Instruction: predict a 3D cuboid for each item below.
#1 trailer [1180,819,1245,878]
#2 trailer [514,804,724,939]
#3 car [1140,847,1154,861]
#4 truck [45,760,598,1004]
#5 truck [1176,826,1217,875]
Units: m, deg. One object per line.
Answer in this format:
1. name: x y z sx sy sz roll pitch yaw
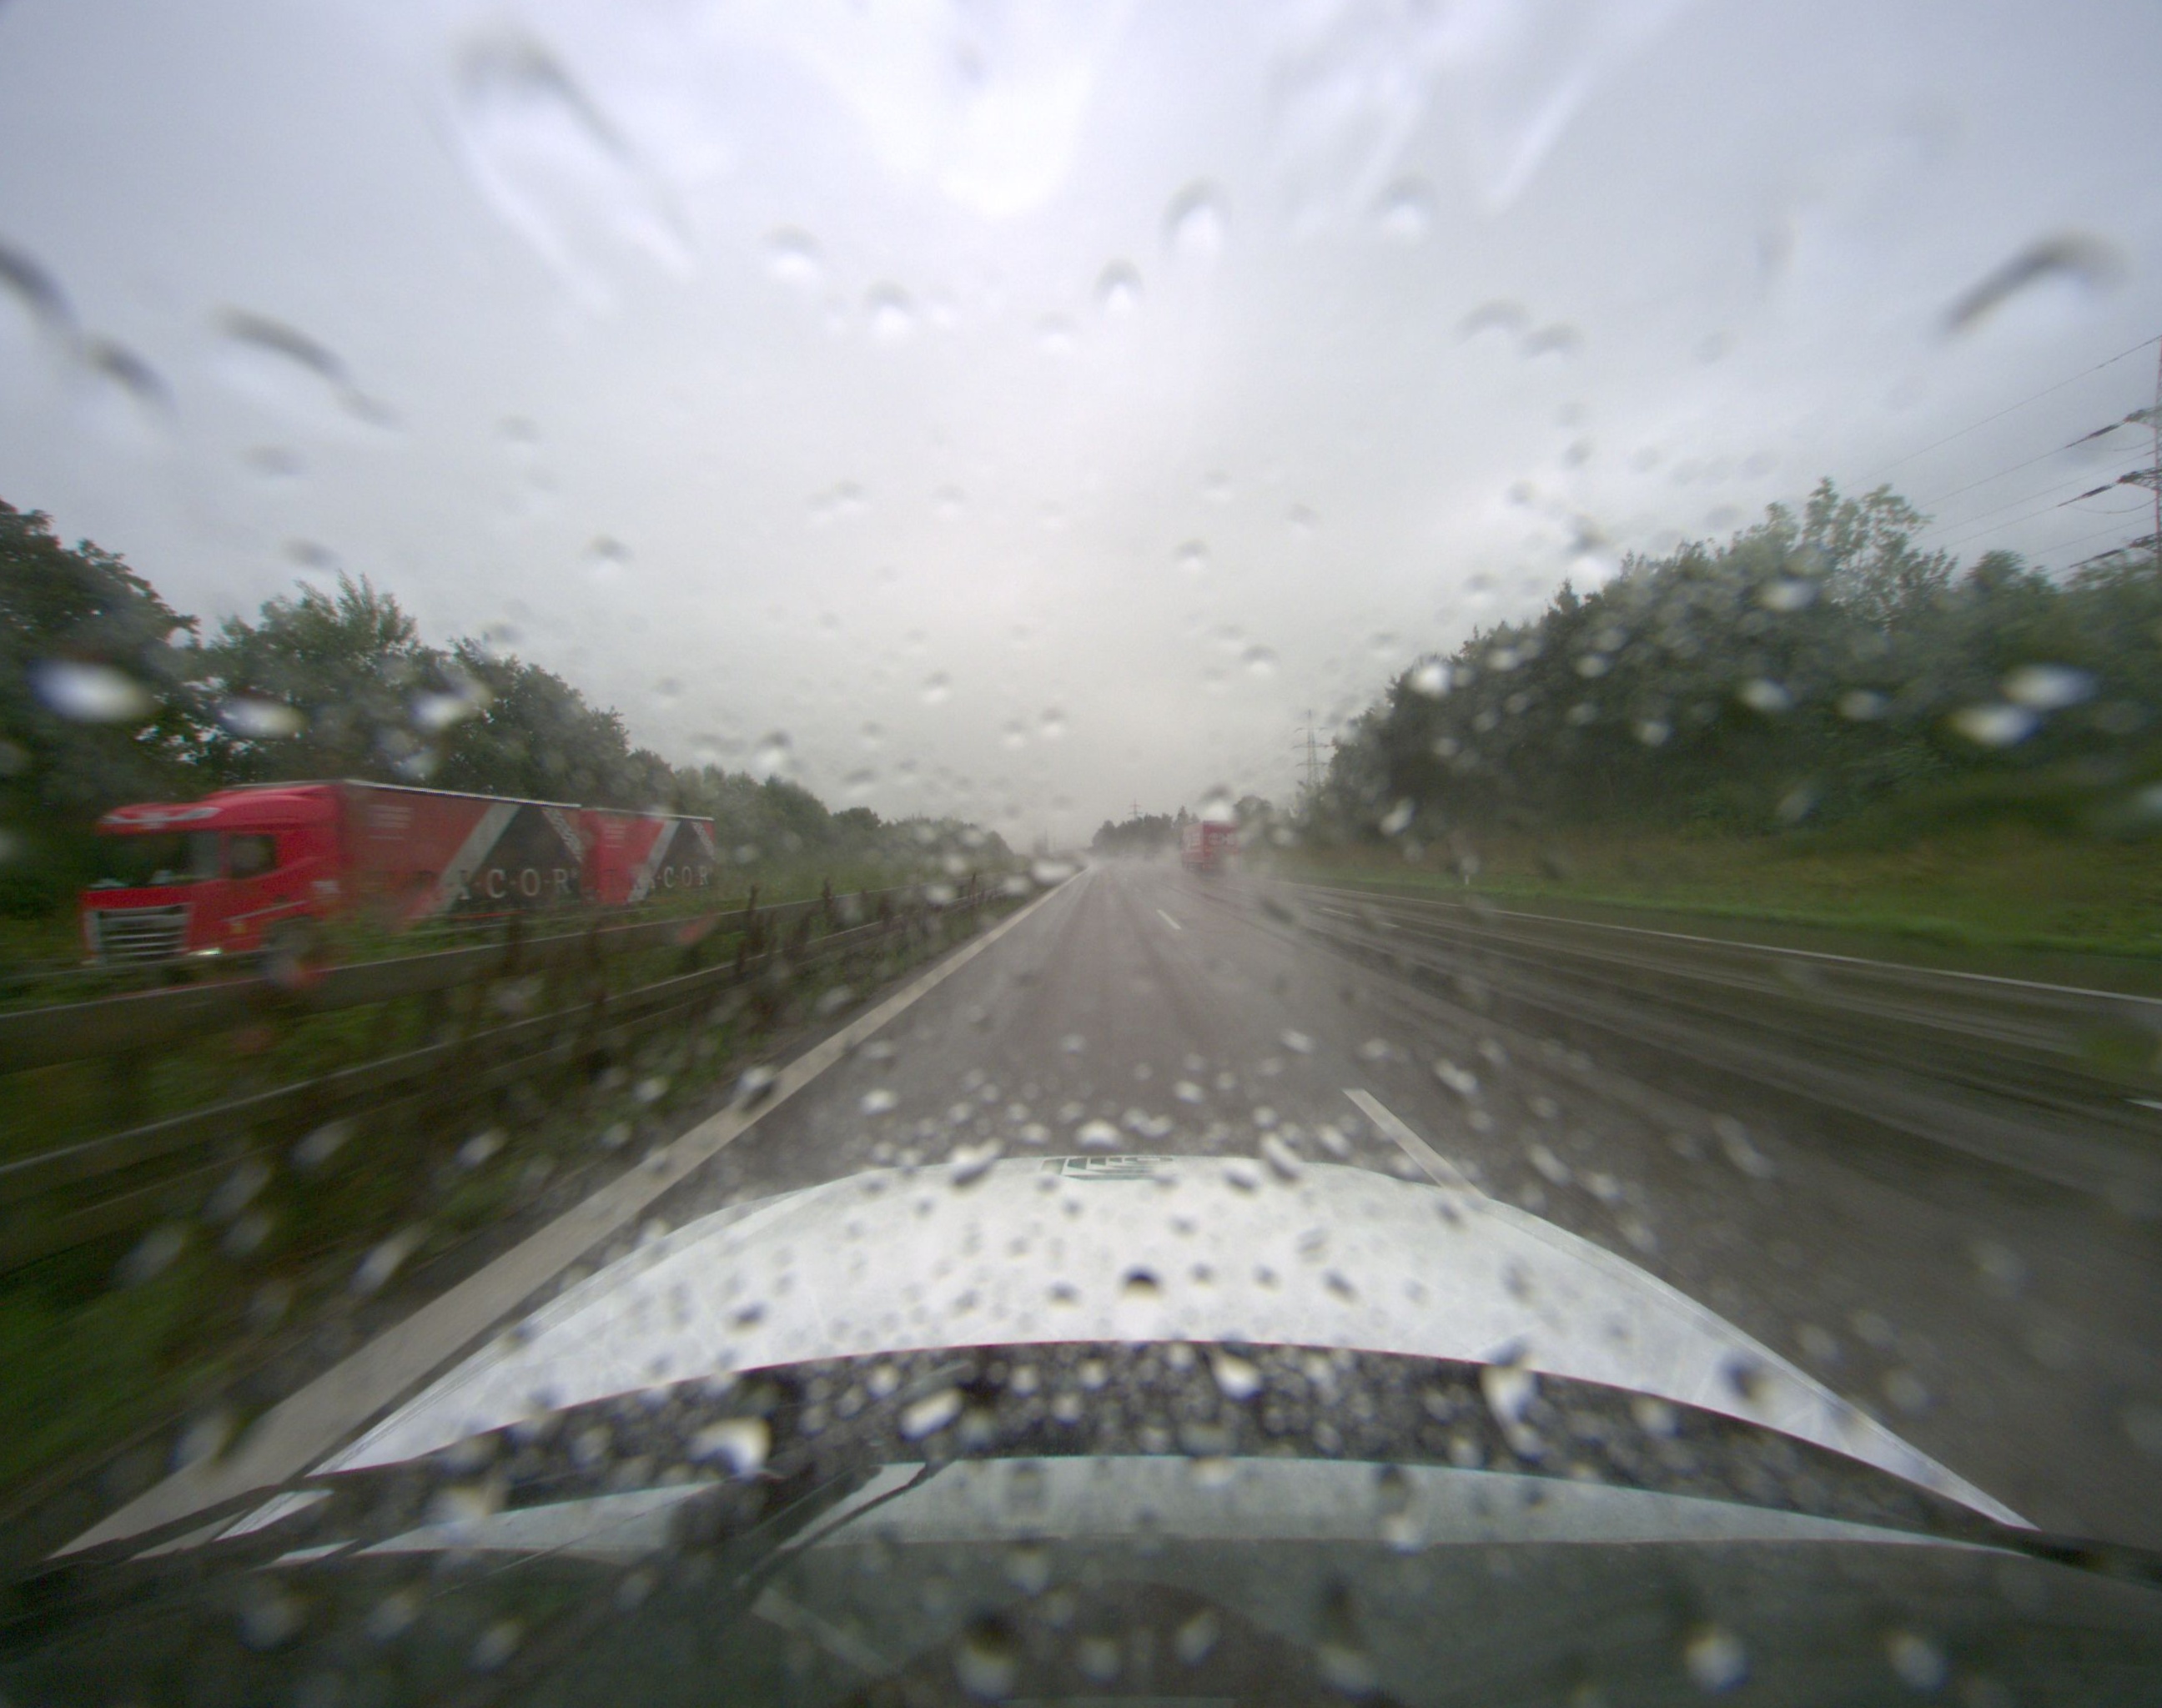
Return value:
1. trailer: 10.058 -0.319 63.900 2.612 3.955 13.626 -4 0 0
2. trailer: -16.437 0.558 29.913 2.688 4.230 8.491 -1 0 1
3. car: 11.161 -0.030 137.713 1.803 2.158 3.996 -4 0 -3
4. truck: -16.642 0.506 19.906 2.688 4.230 11.355 -1 0 1
5. truck: 10.069 -0.310 71.594 2.611 3.955 5.433 -4 0 1
